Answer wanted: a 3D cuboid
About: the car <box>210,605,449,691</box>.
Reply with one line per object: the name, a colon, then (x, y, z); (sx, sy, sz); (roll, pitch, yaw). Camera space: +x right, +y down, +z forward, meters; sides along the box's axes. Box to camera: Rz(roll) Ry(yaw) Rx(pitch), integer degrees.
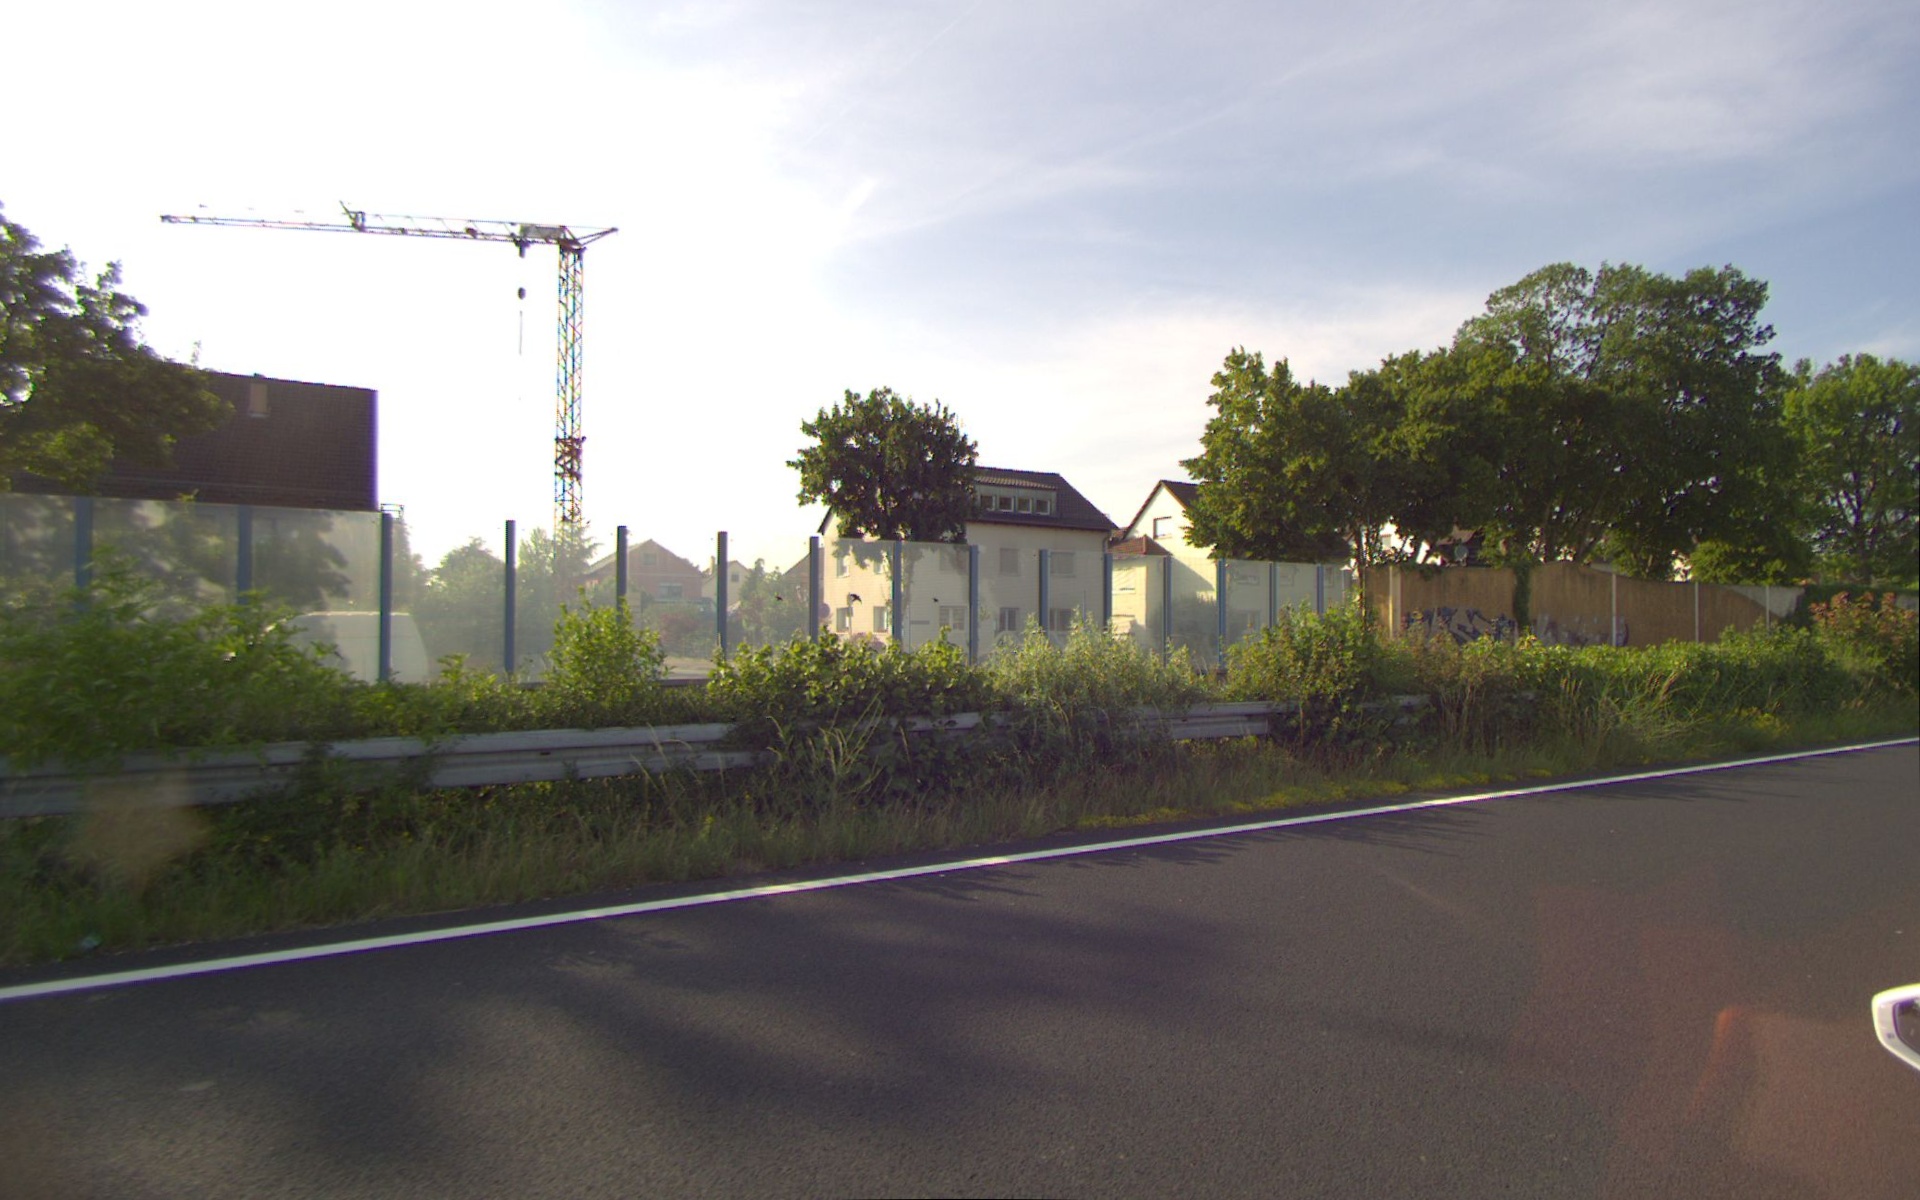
car: (-15.489, 1.171, 24.988); (4.857, 1.944, 1.777); (2, 0, -30)
